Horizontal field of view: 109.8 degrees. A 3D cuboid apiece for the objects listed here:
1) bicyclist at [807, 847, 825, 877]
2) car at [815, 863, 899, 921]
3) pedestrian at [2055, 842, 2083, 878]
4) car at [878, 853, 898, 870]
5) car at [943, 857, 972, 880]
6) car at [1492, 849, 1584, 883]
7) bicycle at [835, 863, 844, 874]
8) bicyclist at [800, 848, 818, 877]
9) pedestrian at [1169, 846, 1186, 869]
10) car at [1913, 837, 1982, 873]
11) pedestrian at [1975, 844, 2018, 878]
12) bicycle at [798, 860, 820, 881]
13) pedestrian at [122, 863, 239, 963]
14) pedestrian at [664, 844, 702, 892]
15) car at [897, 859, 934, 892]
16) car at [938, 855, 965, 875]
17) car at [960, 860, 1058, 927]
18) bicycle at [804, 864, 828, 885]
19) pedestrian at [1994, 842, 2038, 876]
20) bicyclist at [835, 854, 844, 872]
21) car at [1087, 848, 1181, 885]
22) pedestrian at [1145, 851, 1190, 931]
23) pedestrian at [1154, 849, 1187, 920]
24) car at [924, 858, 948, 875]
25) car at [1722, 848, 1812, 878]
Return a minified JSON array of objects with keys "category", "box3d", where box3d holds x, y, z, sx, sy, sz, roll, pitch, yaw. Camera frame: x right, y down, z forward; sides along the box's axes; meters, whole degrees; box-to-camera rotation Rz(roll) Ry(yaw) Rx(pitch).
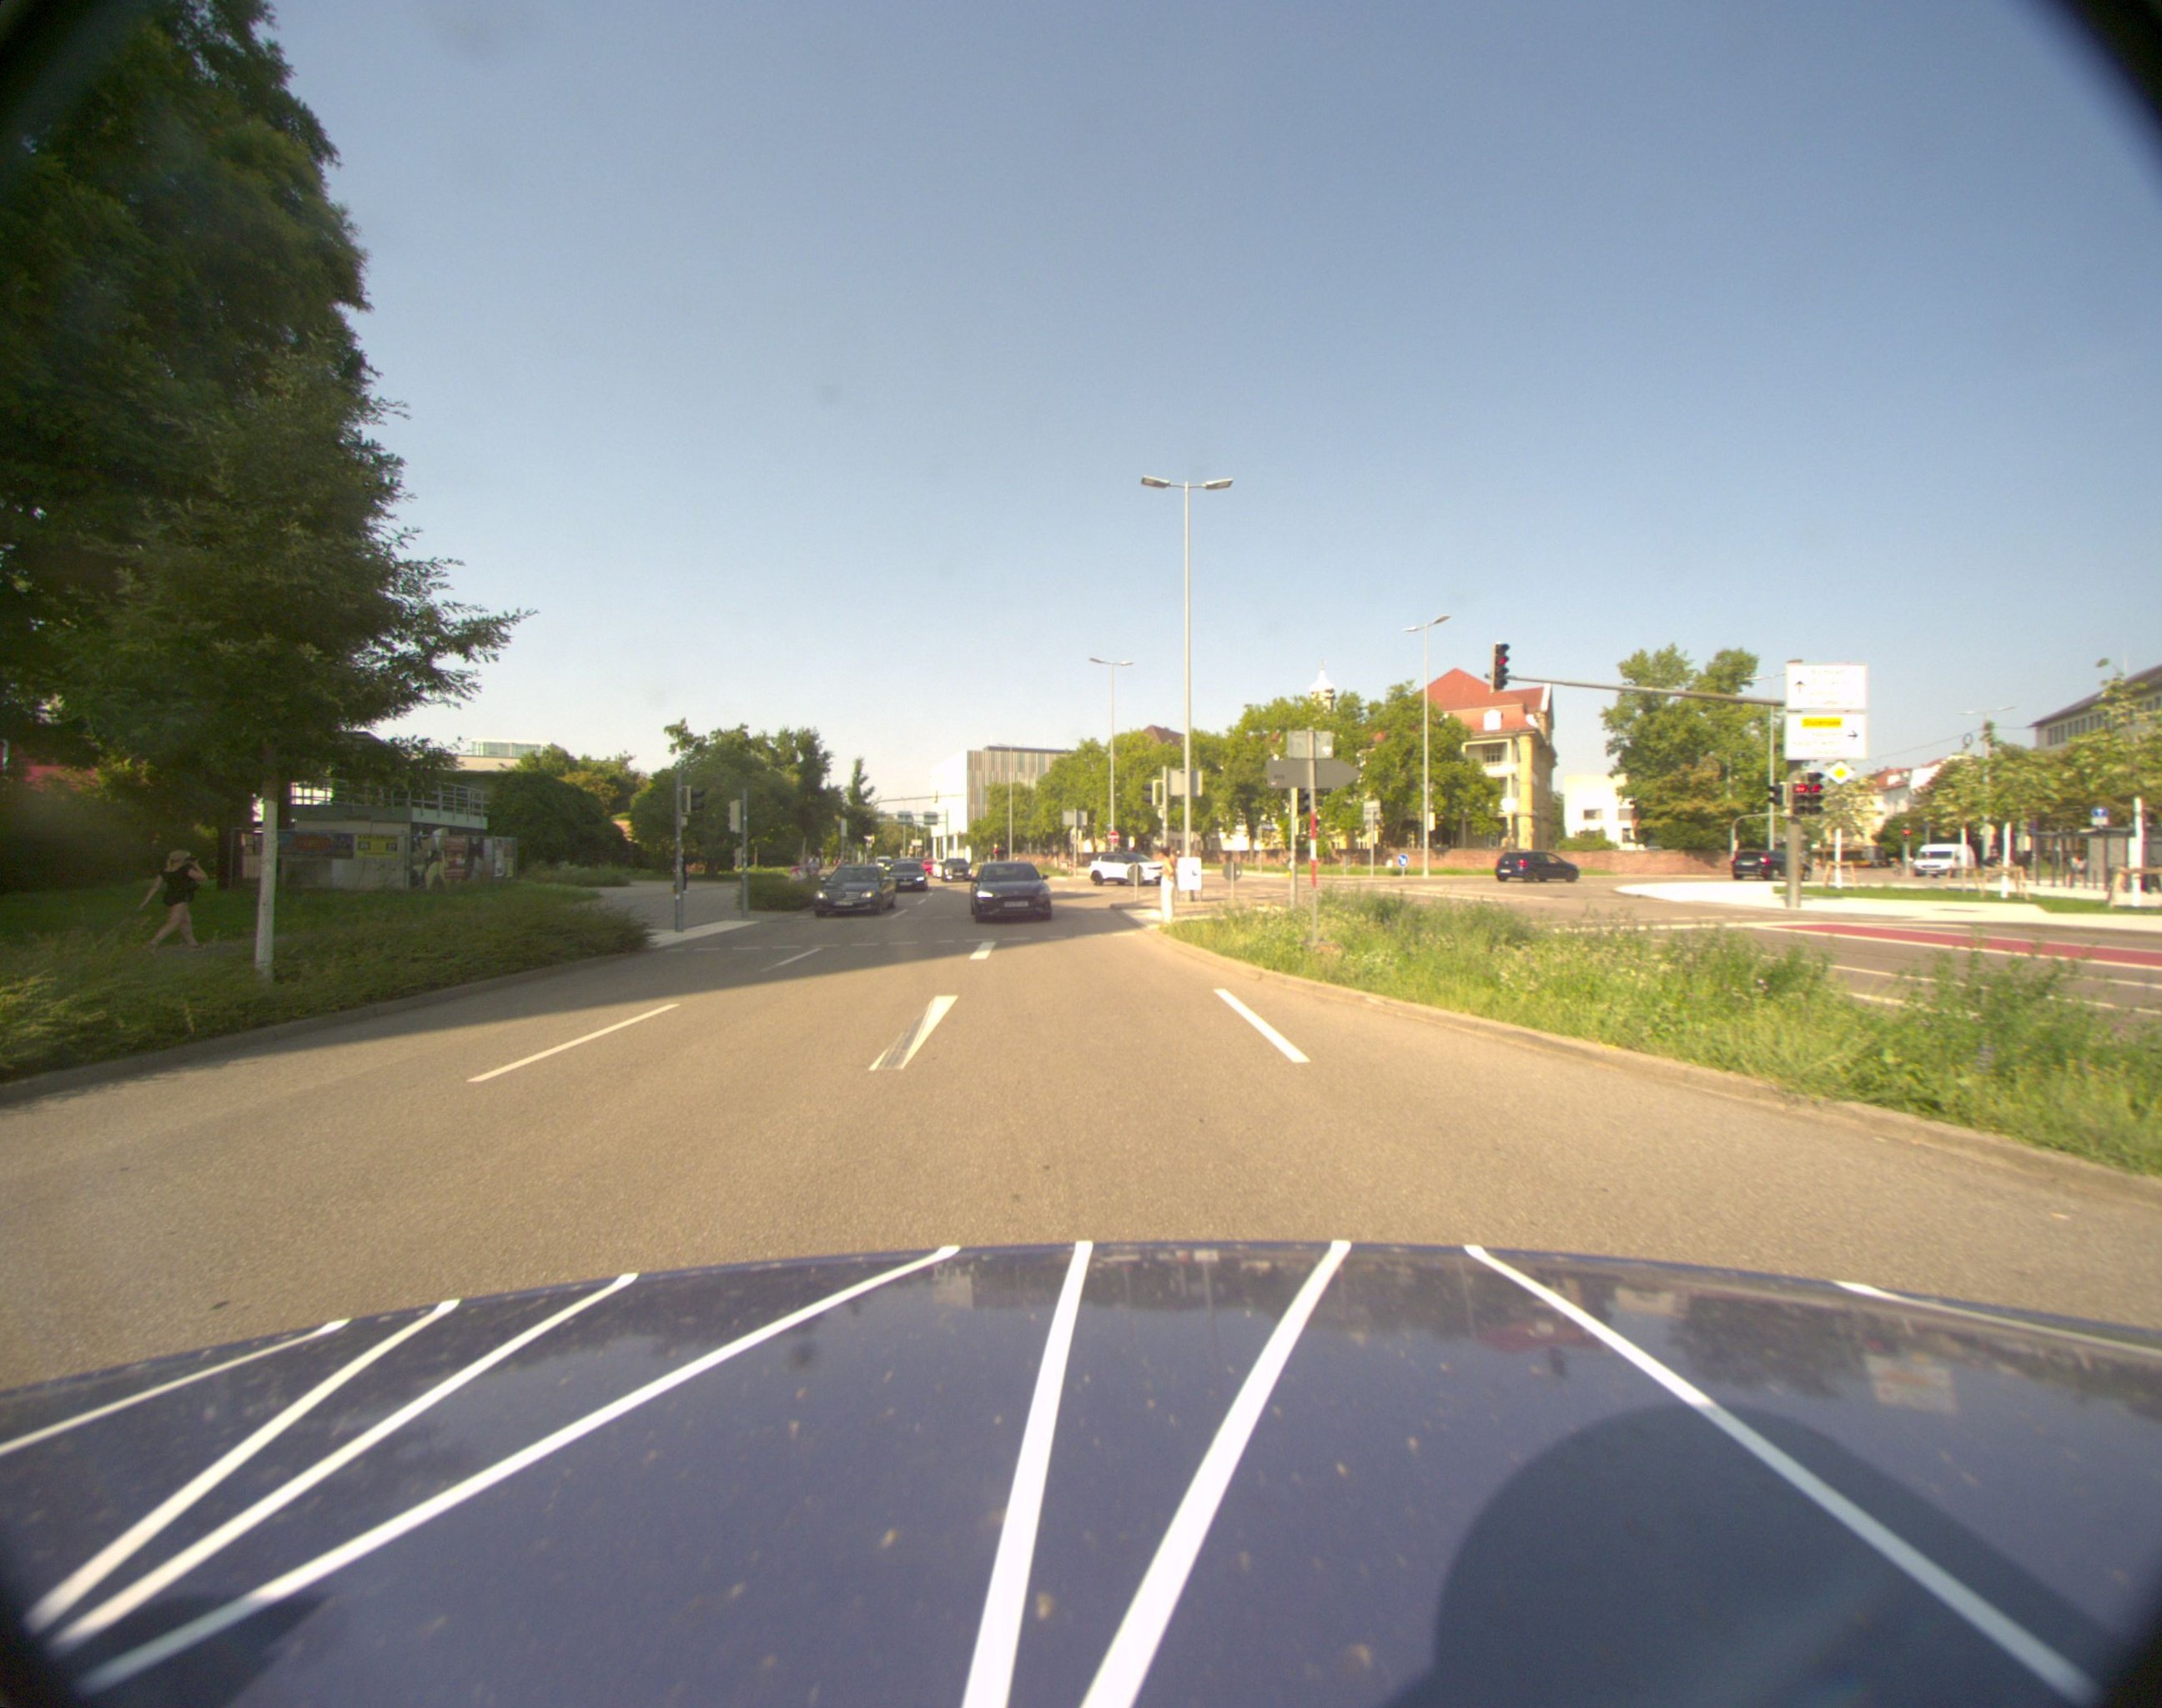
[{"category":"bicyclist","box3d":[-14.301,0.437,41.033,0.773,1.583,0.923,0,0,-7]},{"category":"car","box3d":[-6.514,1.048,22.537,1.688,1.434,4.369,-2,0,-8]},{"category":"pedestrian","box3d":[54.520,0.331,41.936,1.009,2.002,0.860,0,1,-33]},{"category":"car","box3d":[-22.660,0.861,88.970,1.690,1.930,4.364,0,0,-22]},{"category":"car","box3d":[-8.324,0.928,50.982,1.688,1.483,4.367,0,0,-12]},{"category":"car","box3d":[20.880,0.524,34.728,3.854,1.489,1.622,0,0,-22]},{"category":"bicycle","box3d":[-23.688,1.415,74.561,0.774,1.111,2.300,-1,0,-17]},{"category":"bicyclist","box3d":[-15.420,0.482,43.069,0.773,1.584,0.923,-1,1,-10]},{"category":"pedestrian","box3d":[8.539,0.338,67.495,1.080,2.002,1.317,-1,1,-13]},{"category":"car","box3d":[66.434,0.068,58.241,5.558,2.437,1.996,-3,1,-25]},{"category":"pedestrian","box3d":[54.053,0.402,44.872,1.344,2.002,1.210,0,0,-16]},{"category":"bicycle","box3d":[-15.422,0.916,43.105,0.773,1.111,2.301,-1,0,-10]},{"category":"pedestrian","box3d":[-13.568,0.865,11.476,0.726,1.435,0.857,0,1,4]},{"category":"pedestrian","box3d":[-15.278,0.539,29.177,0.961,1.772,1.002,2,0,-7]},{"category":"car","box3d":[-8.191,1.028,37.881,1.688,1.483,4.668,0,0,-10]},{"category":"car","box3d":[-10.447,0.851,60.906,1.785,1.474,4.527,0,0,-14]},{"category":"car","box3d":[-1.983,0.909,19.457,1.839,1.427,4.544,-1,0,-14]},{"category":"bicycle","box3d":[-14.306,1.088,41.044,0.773,1.111,2.302,0,0,-7]},{"category":"pedestrian","box3d":[55.909,0.315,45.449,1.344,2.002,1.210,0,0,-16]},{"category":"bicyclist","box3d":[-23.674,0.877,74.478,0.774,1.666,0.923,-1,1,-16]},{"category":"car","box3d":[2.512,0.642,37.059,2.004,1.623,4.361,0,-3,-42]},{"category":"pedestrian","box3d":[1.826,0.755,16.042,0.667,1.644,0.780,0,1,32]},{"category":"pedestrian","box3d":[2.171,0.731,18.545,0.668,1.689,0.691,0,0,-5]},{"category":"car","box3d":[-13.511,1.122,70.825,1.689,1.483,4.365,0,0,-18]},{"category":"car","box3d":[37.861,0.468,41.945,4.377,1.624,1.996,0,0,-22]}]
